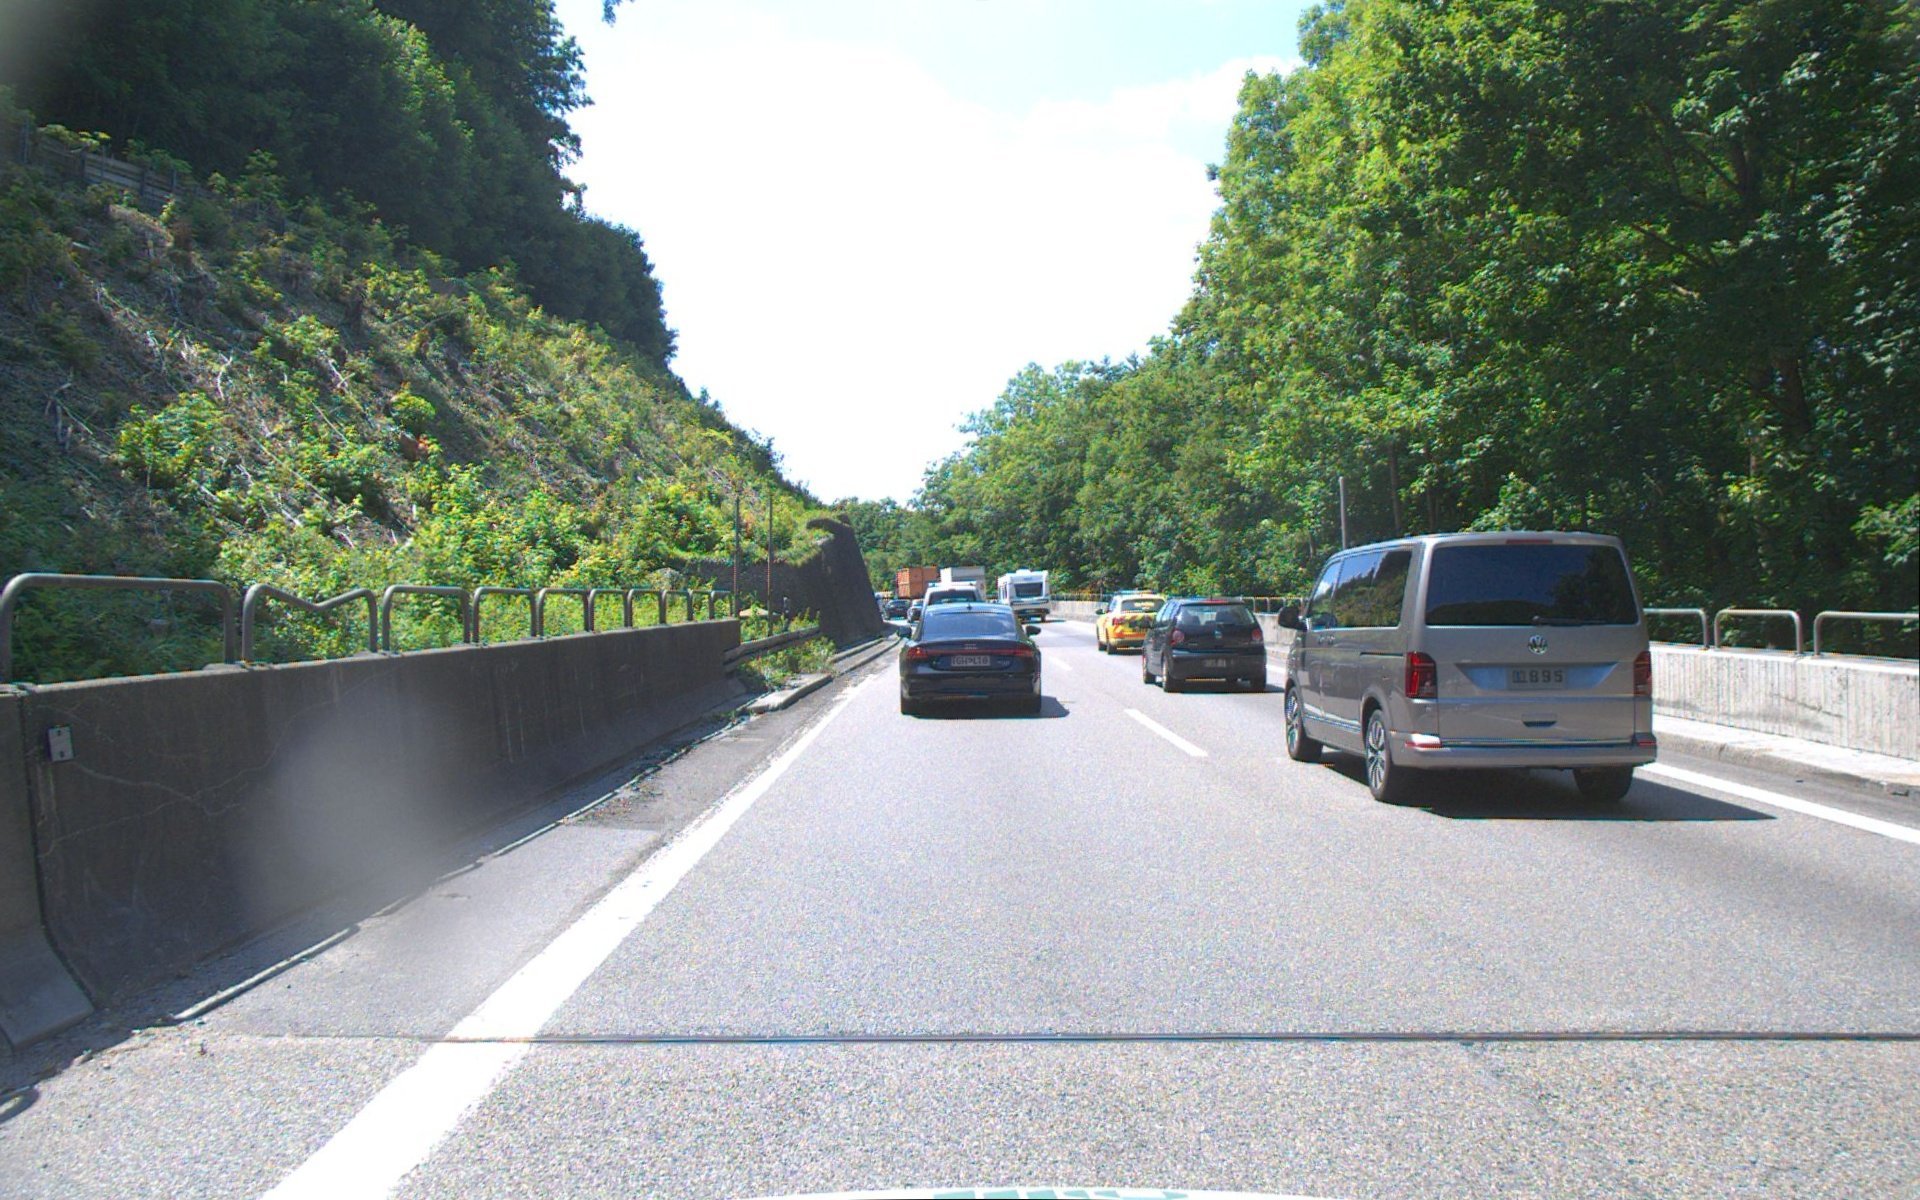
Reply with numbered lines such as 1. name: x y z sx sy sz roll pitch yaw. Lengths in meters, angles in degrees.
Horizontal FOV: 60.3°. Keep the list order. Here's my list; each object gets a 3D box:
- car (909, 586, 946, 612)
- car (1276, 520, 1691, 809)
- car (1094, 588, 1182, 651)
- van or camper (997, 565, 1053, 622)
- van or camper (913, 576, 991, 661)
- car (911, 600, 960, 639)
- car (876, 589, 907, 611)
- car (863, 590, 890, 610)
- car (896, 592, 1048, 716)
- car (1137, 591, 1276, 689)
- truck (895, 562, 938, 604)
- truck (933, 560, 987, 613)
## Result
1. car: -2.117 -0.063 106.076 1.956 1.646 3.993 1 0 -8
2. car: 4.029 0.430 13.645 1.901 1.965 4.694 0 0 -1
3. car: 4.482 0.468 42.170 1.771 1.503 4.081 1 0 0
4. van or camper: 3.413 -0.351 88.381 2.551 2.905 6.333 0 0 -2
5. van or camper: -0.182 0.423 41.175 1.815 1.976 4.165 1 0 0
6. car: -1.098 0.833 72.438 1.858 1.612 3.766 0 0 -6
7. car: -5.066 0.010 121.686 1.720 1.598 3.760 0 0 -11
8. car: -6.811 0.023 135.241 1.719 1.598 3.761 0 0 -11
9. car: 0.069 0.660 22.740 1.866 1.515 4.377 -1 0 -3
10. car: 3.956 0.600 27.064 1.650 1.484 4.000 0 0 0
11. truck: -3.895 -1.449 145.660 3.102 3.528 8.211 1 0 -6
12. truck: -0.037 -1.024 123.560 2.870 3.751 7.710 1 0 -8
